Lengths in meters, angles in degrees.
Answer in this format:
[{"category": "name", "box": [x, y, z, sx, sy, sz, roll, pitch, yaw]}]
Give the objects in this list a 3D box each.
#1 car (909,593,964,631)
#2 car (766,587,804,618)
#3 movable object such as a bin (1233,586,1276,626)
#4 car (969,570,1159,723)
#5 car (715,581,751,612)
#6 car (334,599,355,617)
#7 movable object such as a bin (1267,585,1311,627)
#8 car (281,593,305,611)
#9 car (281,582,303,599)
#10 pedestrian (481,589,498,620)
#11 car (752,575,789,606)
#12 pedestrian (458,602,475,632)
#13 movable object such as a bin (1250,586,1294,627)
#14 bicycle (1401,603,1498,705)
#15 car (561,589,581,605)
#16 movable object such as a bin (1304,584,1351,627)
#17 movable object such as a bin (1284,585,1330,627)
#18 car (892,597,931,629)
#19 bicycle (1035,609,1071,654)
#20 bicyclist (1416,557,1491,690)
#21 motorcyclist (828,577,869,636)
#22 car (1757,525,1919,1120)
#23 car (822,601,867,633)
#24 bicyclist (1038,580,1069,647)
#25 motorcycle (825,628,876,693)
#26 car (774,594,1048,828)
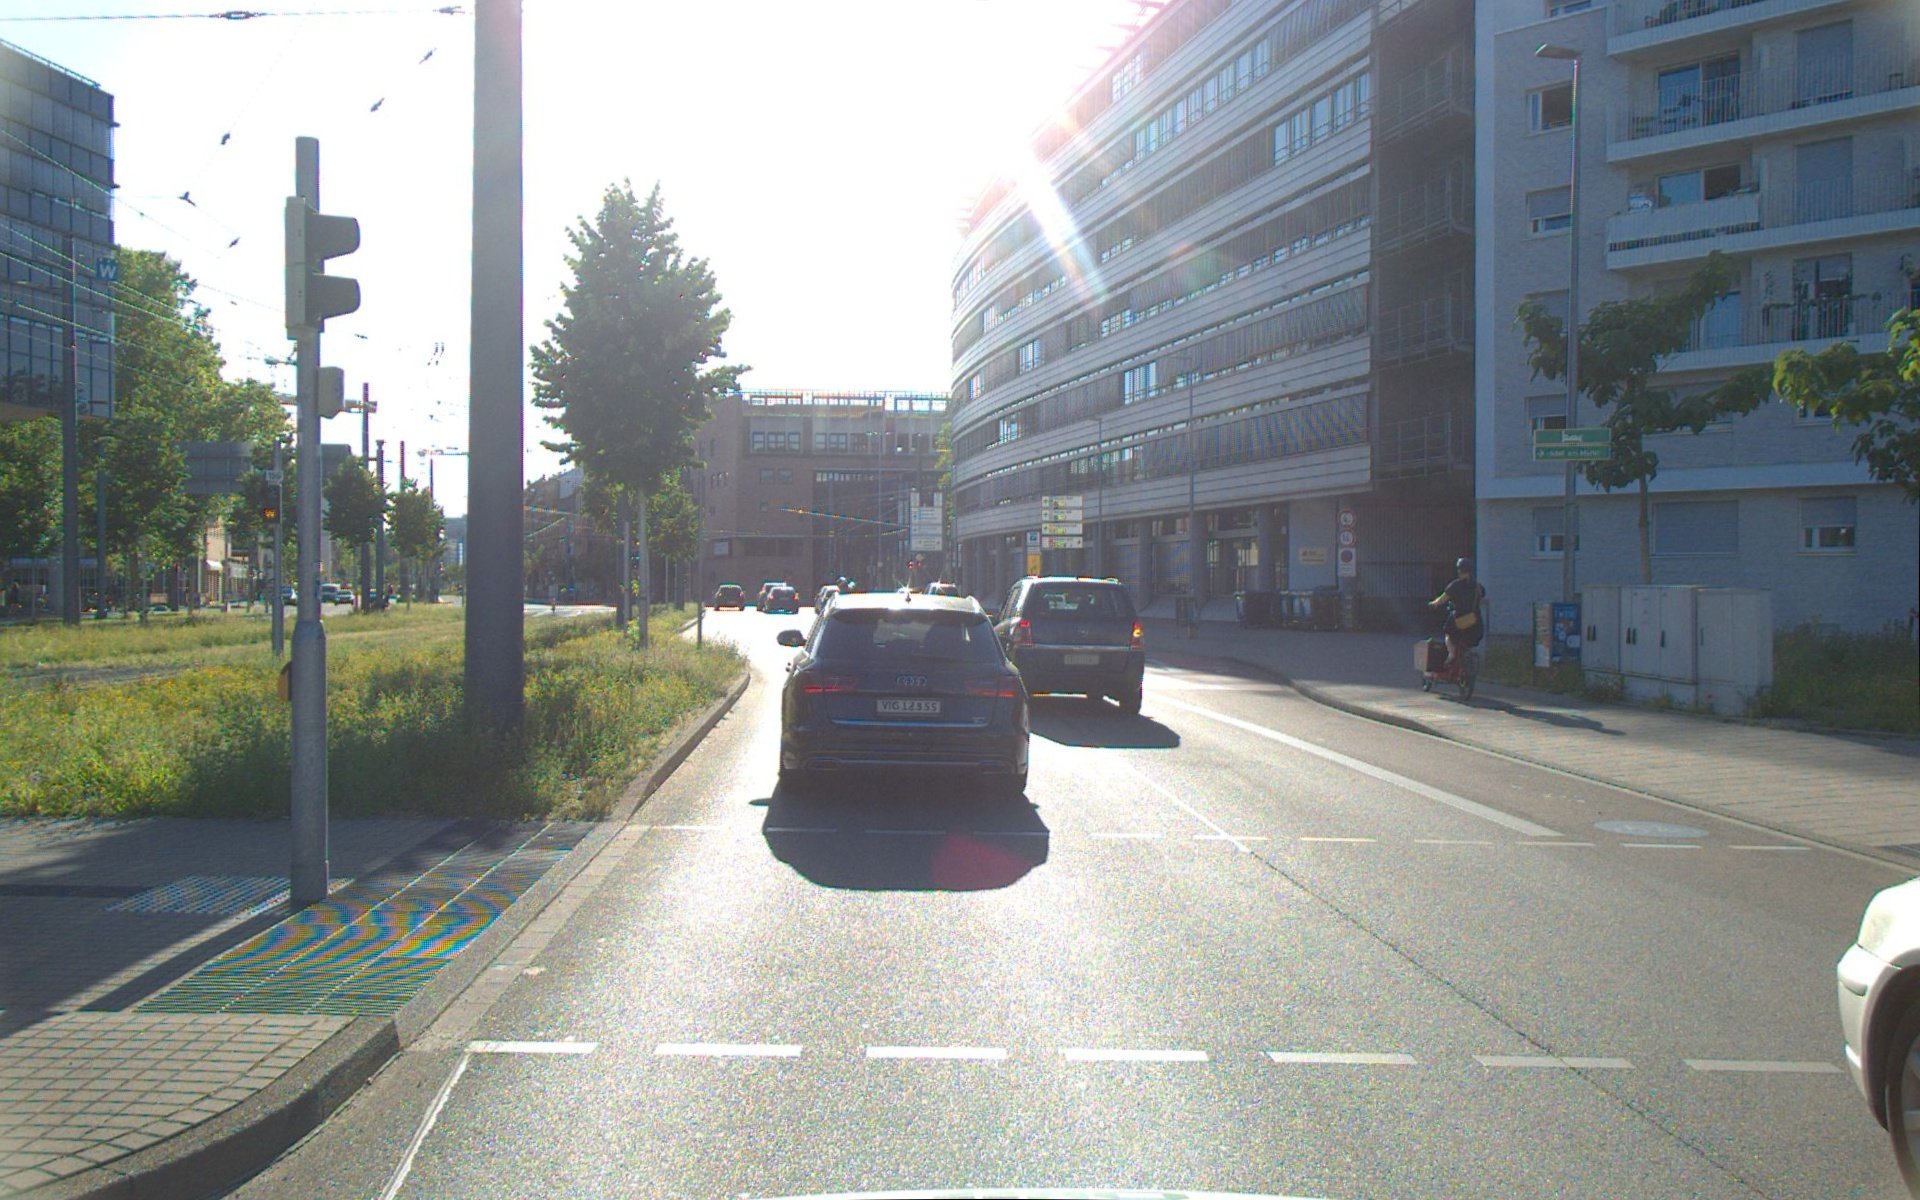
[{"category": "car", "box": [-1.238, 0.607, 83.584, 1.967, 1.745, 4.360, 1, 1, -12]}, {"category": "car", "box": [-9.667, 0.153, 91.140, 1.956, 1.624, 3.993, -1, 0, -7]}, {"category": "movable object such as a bin", "box": [10.268, 0.221, 57.636, 1.044, 1.355, 1.118, 0, -1, -20]}, {"category": "car", "box": [1.248, 0.534, 21.606, 1.712, 1.725, 4.255, 2, 0, -6]}, {"category": "car", "box": [-13.363, -0.175, 97.135, 1.957, 1.736, 3.990, -1, -1, -10]}, {"category": "car", "box": [-60.403, 0.751, 162.301, 1.965, 1.713, 3.975, -1, 0, -21]}, {"category": "movable object such as a bin", "box": [11.041, 0.202, 55.525, 1.044, 1.355, 1.118, 0, -1, -20]}, {"category": "car", "box": [-64.134, 0.153, 159.095, 1.965, 1.713, 3.975, -1, 0, -21]}, {"category": "car", "box": [-81.125, -1.198, 200.918, 1.961, 2.049, 3.984, -1, 1, -15]}, {"category": "pedestrian", "box": [-29.307, 0.285, 103.034, 0.885, 1.856, 0.827, -1, -1, -9]}, {"category": "car", "box": [-11.216, -0.556, 97.744, 1.957, 1.736, 3.990, -1, -1, -10]}, {"category": "pedestrian", "box": [-30.913, 1.045, 103.539, 0.885, 1.856, 0.827, -1, -1, -9]}, {"category": "movable object such as a bin", "box": [10.669, 0.226, 56.588, 1.044, 1.355, 1.118, 0, -1, -20]}, {"category": "bicycle", "box": [6.548, 0.696, 22.214, 0.750, 1.284, 2.082, 0, 0, 2]}, {"category": "car", "box": [-45.595, -0.356, 193.789, 1.962, 1.736, 3.980, -1, -1, -18]}, {"category": "movable object such as a bin", "box": [11.820, 0.176, 53.252, 1.044, 1.355, 1.118, 0, -1, -20]}, {"category": "movable object such as a bin", "box": [11.416, 0.195, 54.451, 1.044, 1.355, 1.118, 0, -1, -20]}, {"category": "car", "box": [-2.969, 0.771, 100.278, 1.956, 1.870, 3.993, -1, -1, -7]}, {"category": "bicycle", "box": [2.353, 0.770, 41.580, 0.640, 1.061, 1.931, 0, 1, 11]}, {"category": "bicyclist", "box": [6.537, 0.303, 21.947, 0.750, 1.736, 0.930, 0, 0, 2]}, {"category": "motorcyclist", "box": [-2.562, 0.148, 38.005, 0.848, 1.349, 0.679, 0, 0, -15]}, {"category": "car", "box": [3.292, 0.571, 2.736, 1.710, 1.507, 4.628, 0, 0, 0]}, {"category": "car", "box": [-6.185, 0.896, 88.215, 1.958, 1.624, 3.989, -1, -1, -11]}, {"category": "bicyclist", "box": [2.355, 0.334, 41.579, 0.640, 1.671, 0.973, 0, 1, 11]}, {"category": "motorcycle", "box": [-2.523, 1.368, 37.893, 0.848, 1.417, 1.886, 0, 0, -14]}, {"category": "car", "box": [-0.422, 0.743, 13.145, 1.805, 1.479, 3.998, 2, 1, -3]}]
